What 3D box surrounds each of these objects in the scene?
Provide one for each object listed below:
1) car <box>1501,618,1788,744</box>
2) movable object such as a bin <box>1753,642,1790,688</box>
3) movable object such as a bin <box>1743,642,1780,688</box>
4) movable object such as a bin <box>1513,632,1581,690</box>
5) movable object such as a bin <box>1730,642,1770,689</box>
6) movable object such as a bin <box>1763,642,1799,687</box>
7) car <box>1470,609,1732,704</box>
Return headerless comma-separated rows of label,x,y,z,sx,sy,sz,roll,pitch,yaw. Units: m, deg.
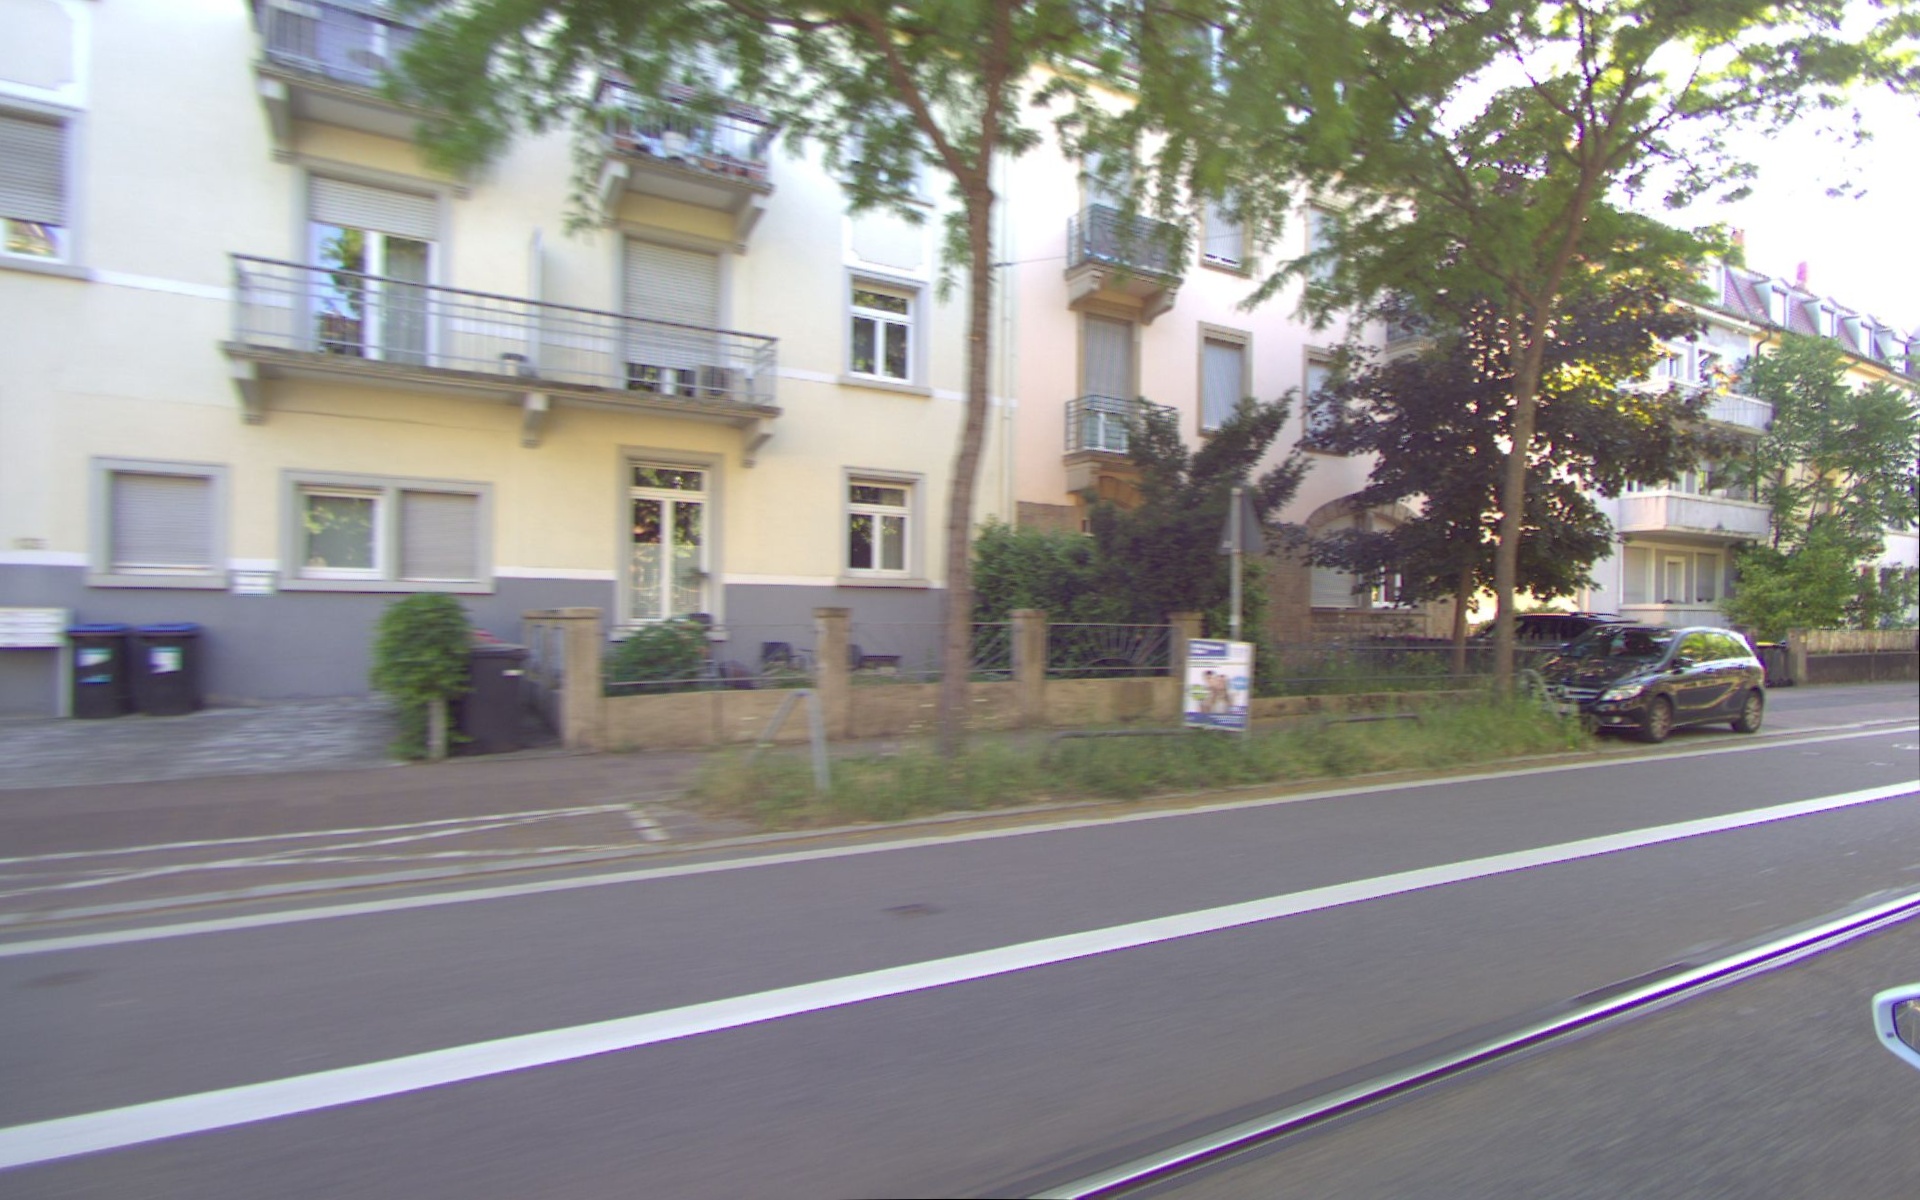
car,10.171,1.105,14.854,4.433,1.562,1.768,1,0,-31
movable object such as a bin,19.628,1.561,24.304,0.504,1.080,0.544,1,-1,-30
movable object such as a bin,19.180,1.551,24.044,0.504,1.080,0.544,1,-1,-30
movable object such as a bin,11.443,1.174,19.593,0.804,1.080,0.871,1,-1,-30
movable object such as a bin,18.670,1.540,23.740,0.662,1.080,0.538,1,-1,-30
movable object such as a bin,20.070,1.564,24.562,0.504,1.080,0.534,1,-1,-30
car,13.150,1.079,20.866,1.961,1.681,4.144,1,0,-31
